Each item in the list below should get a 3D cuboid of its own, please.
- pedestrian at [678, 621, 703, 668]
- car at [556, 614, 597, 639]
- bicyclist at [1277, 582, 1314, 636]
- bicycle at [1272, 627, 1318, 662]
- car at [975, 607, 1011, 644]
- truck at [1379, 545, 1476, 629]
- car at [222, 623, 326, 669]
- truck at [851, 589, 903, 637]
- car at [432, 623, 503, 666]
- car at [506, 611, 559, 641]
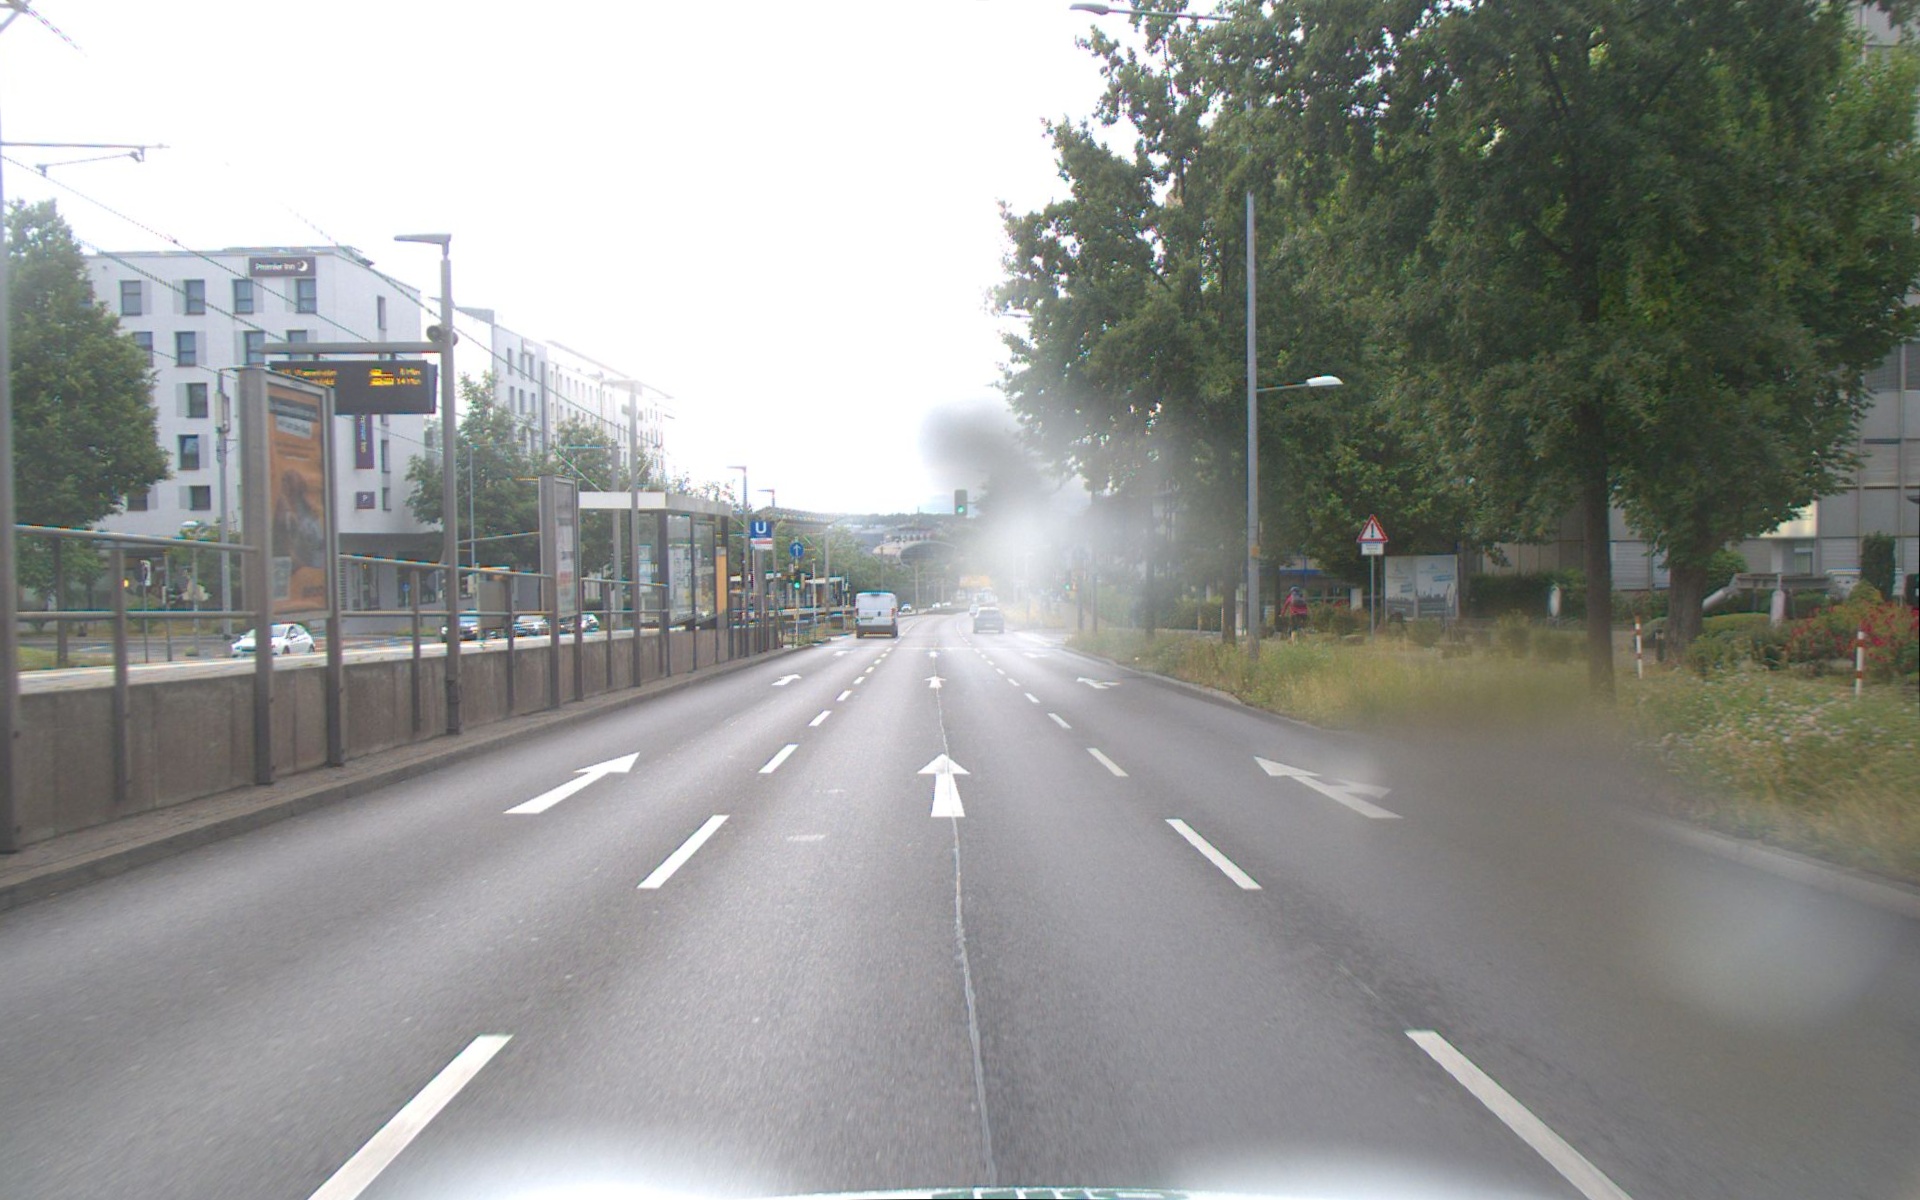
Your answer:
[{"bbox_3d":[-9.783,1.604,60.062,0.693,1.679,0.643,0,0,-30],"label":"pedestrian"},{"bbox_3d":[-23.002,1.572,99.307,1.693,1.448,3.778,-1,0,-1],"label":"car"},{"bbox_3d":[8.388,0.228,41.356,0.642,1.311,1.219,2,-1,-1],"label":"bicyclist"},{"bbox_3d":[8.366,1.099,41.398,0.654,0.823,2.318,1,-1,-1],"label":"bicycle"},{"bbox_3d":[1.900,1.475,95.055,1.952,2.049,3.935,1,-1,2],"label":"car"},{"bbox_3d":[14.843,-0.373,52.722,1.712,2.562,3.996,1,-1,-4],"label":"truck"},{"bbox_3d":[-24.771,1.626,59.896,1.954,1.544,4.704,1,-1,-3],"label":"car"},{"bbox_3d":[-4.199,0.670,84.412,2.312,2.301,5.305,1,-1,0],"label":"truck"},{"bbox_3d":[-22.156,1.974,74.562,1.953,1.806,4.388,-1,0,-1],"label":"car"},{"bbox_3d":[-22.260,1.318,86.323,1.816,1.452,4.386,-2,0,-3],"label":"car"}]
